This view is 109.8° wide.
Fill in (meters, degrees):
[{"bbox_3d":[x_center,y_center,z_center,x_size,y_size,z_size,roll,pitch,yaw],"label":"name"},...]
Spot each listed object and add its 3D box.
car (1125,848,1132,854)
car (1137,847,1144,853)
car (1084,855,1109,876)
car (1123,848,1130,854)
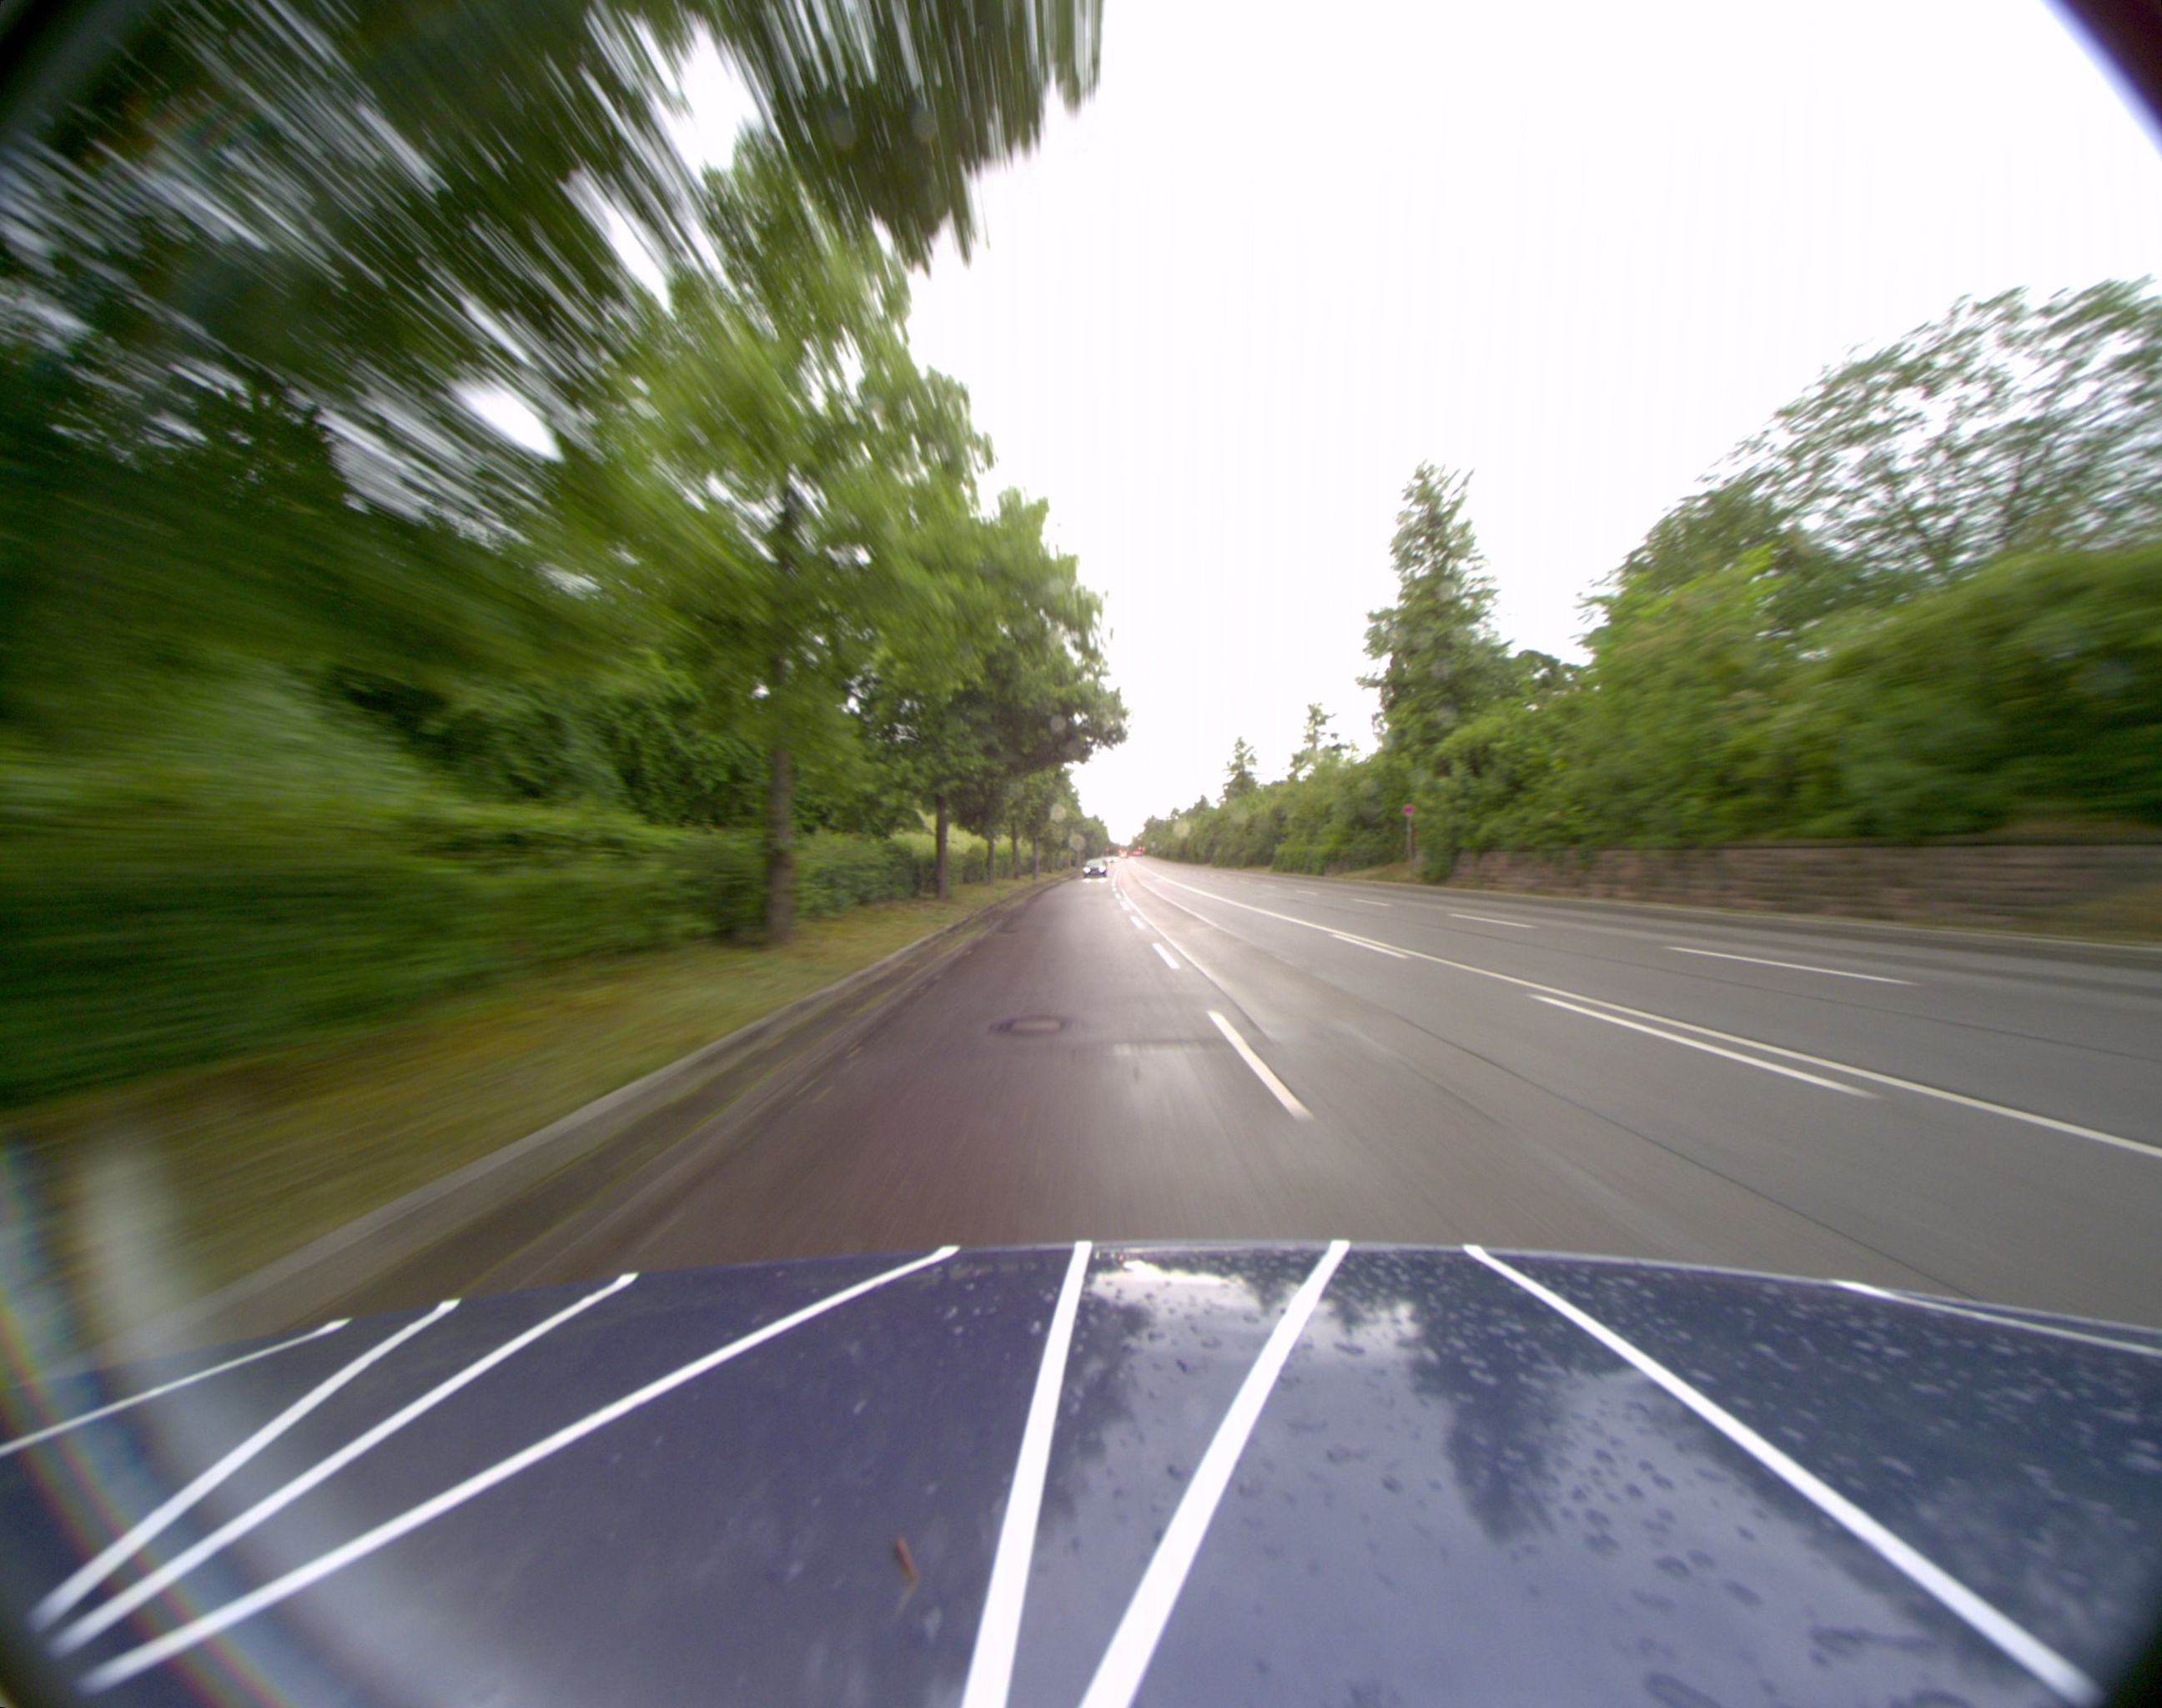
[{"bbox_3d":[14.144,-0.926,224.603,1.930,1.805,4.000,-2,1,1],"label":"car"},{"bbox_3d":[19.750,-1.420,253.115,1.930,1.805,4.000,-2,1,1],"label":"car"},{"bbox_3d":[1.235,0.881,60.470,1.824,1.547,4.000,-2,1,1],"label":"car"},{"bbox_3d":[13.978,-1.021,234.259,1.930,1.805,4.000,-2,1,1],"label":"car"}]
